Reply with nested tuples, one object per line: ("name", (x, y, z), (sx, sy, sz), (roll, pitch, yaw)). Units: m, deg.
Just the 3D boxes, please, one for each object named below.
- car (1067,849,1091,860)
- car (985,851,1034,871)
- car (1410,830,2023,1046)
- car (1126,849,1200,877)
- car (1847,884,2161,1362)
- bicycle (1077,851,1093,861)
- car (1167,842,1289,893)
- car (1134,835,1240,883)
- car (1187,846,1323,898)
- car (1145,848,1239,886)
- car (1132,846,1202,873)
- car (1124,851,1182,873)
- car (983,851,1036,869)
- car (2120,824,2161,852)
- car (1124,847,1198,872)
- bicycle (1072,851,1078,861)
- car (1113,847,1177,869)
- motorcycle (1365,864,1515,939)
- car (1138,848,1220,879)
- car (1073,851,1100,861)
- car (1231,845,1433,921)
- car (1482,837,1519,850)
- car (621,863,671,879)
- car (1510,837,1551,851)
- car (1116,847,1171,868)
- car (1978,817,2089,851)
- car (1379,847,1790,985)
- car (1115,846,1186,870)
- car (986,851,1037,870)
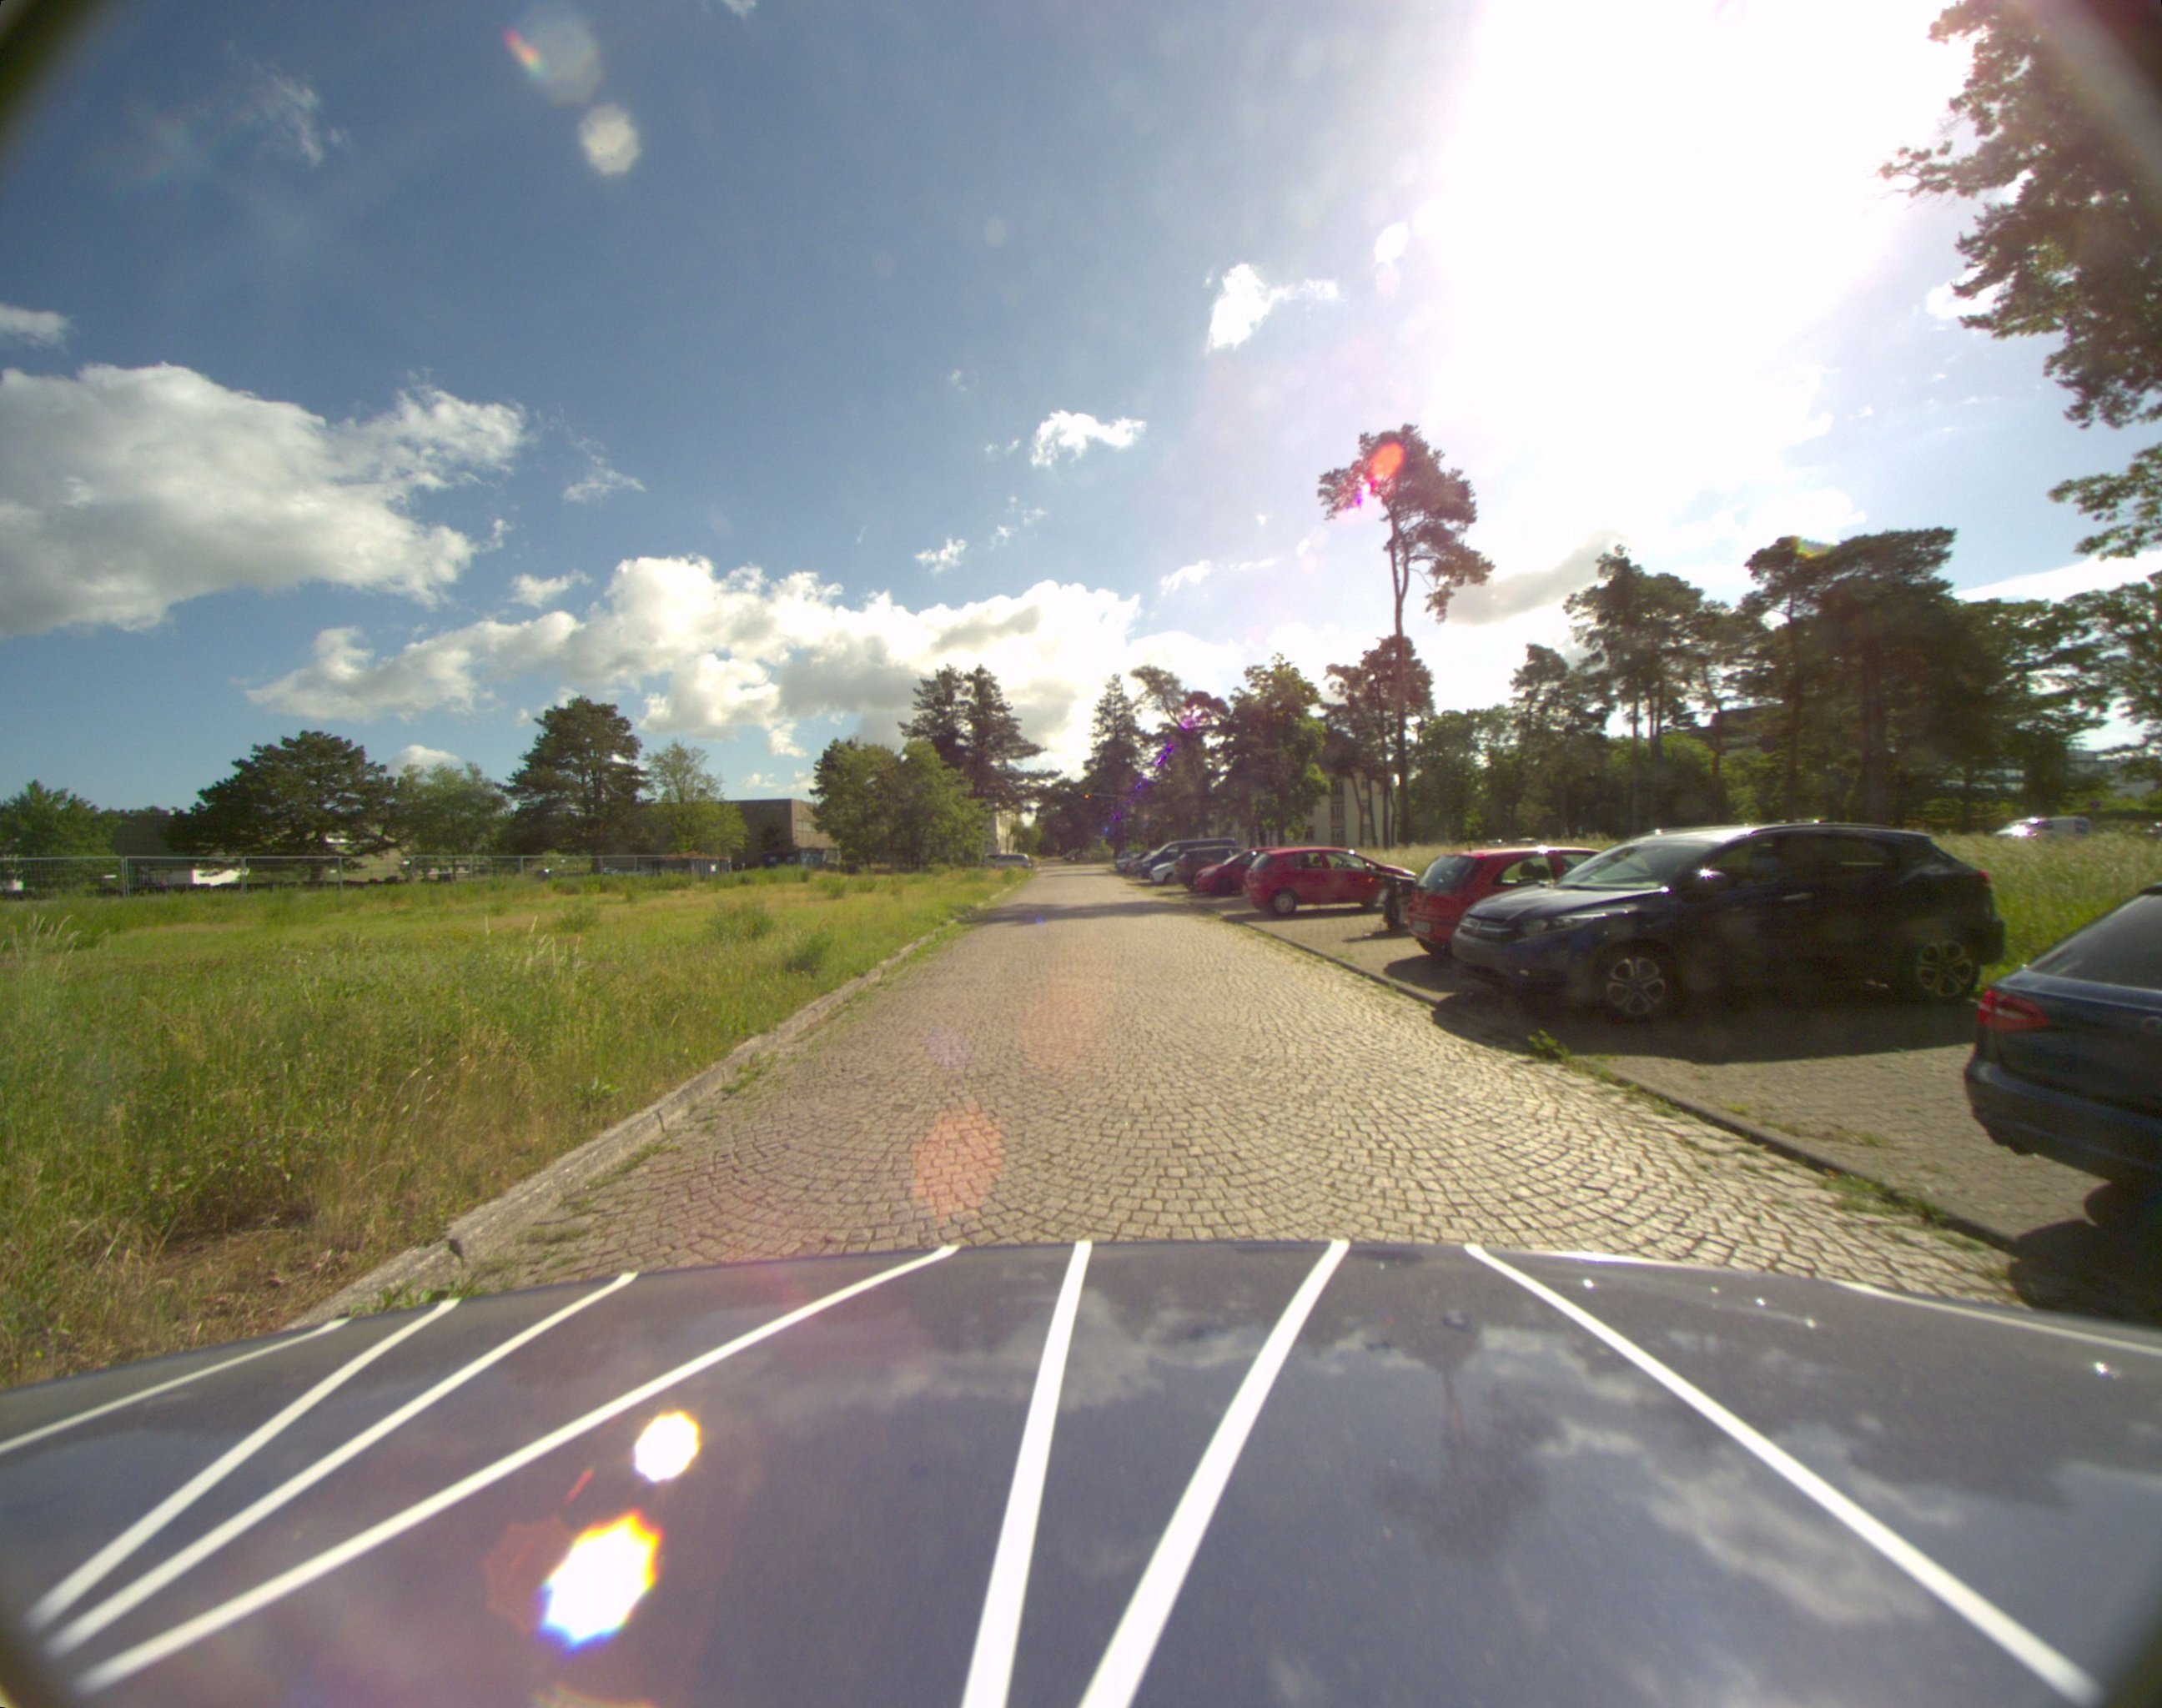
("car", (-0.376, 0.045, 141.250), (4.227, 1.903, 1.816), (-1, 1, -11))
("car", (-5.538, 0.545, 59.266), (3.751, 1.468, 1.751), (1, 1, -3))
("car", (5.573, 0.676, 7.098), (4.146, 1.570, 1.884), (-2, 0, -1))
("car", (4.776, 0.520, 44.806), (4.087, 1.417, 1.923), (-3, 0, 0))
("car", (5.605, 0.815, 2.379), (4.370, 1.436, 1.921), (-2, 0, 2))
("bicycle", (0.520, 0.271, 109.059), (2.114, 1.276, 0.621), (-7, 1, -4))
("car", (5.291, 0.480, 27.700), (3.964, 1.558, 1.973), (-3, 0, -2))
("car", (5.053, 0.226, 36.596), (4.730, 1.956, 2.005), (-3, 1, -1))
("car", (5.635, 0.564, 24.975), (3.934, 1.440, 1.866), (-3, 0, -2))
("car", (4.940, 0.544, 34.028), (3.826, 1.432, 1.682), (-3, 1, -4))
("car", (5.365, 0.355, 47.697), (4.087, 1.444, 1.821), (-3, 2, 0))
("car", (4.713, 0.494, 50.358), (3.639, 1.227, 1.759), (-3, 2, 0))
("car", (-6.284, 0.533, 67.228), (4.526, 1.456, 1.838), (1, 1, -4))
("car", (63.556, -0.986, 43.956), (4.239, 1.596, 1.912), (-1, 1, 0))
("car", (5.490, 0.367, 52.681), (4.877, 1.413, 1.938), (-3, 1, -1))
("bicycle", (-0.857, 0.286, 105.688), (0.621, 1.342, 2.114), (-4, 1, -5))
("car", (4.824, 0.281, 57.732), (4.594, 1.443, 1.983), (-3, 1, -4))
("motorcycle", (6.063, 0.795, 12.897), (2.248, 1.155, 0.577), (-2, 1, 0))
("car", (5.367, 0.513, 41.934), (4.207, 1.466, 1.823), (-3, 0, -1))
("car", (0.922, 0.257, 123.924), (4.045, 1.514, 1.816), (-1, 1, -9))
("car", (5.634, 0.621, 17.381), (3.934, 1.452, 1.841), (-3, 0, -2))
("car", (57.115, -1.442, 103.511), (4.105, 1.571, 1.720), (-1, 1, 1))
("car", (-43.778, 1.698, 76.470), (3.997, 1.413, 1.745), (-2, -1, -1))
("car", (56.705, -1.266, 95.911), (4.056, 1.620, 1.840), (-1, 1, 1))
("car", (4.941, 0.282, 60.357), (4.037, 1.474, 1.948), (-3, 0, -3))
("car", (63.212, -1.319, 50.480), (4.858, 2.152, 1.957), (-1, 1, 0))
("car", (6.120, 0.711, 9.603), (3.933, 1.424, 1.842), (-2, 0, 0))
("car", (5.009, 0.274, 55.013), (4.877, 1.413, 1.938), (-3, 2, -1))
("car", (-5.666, 0.497, 62.008), (4.015, 1.433, 1.843), (1, 0, -3))
